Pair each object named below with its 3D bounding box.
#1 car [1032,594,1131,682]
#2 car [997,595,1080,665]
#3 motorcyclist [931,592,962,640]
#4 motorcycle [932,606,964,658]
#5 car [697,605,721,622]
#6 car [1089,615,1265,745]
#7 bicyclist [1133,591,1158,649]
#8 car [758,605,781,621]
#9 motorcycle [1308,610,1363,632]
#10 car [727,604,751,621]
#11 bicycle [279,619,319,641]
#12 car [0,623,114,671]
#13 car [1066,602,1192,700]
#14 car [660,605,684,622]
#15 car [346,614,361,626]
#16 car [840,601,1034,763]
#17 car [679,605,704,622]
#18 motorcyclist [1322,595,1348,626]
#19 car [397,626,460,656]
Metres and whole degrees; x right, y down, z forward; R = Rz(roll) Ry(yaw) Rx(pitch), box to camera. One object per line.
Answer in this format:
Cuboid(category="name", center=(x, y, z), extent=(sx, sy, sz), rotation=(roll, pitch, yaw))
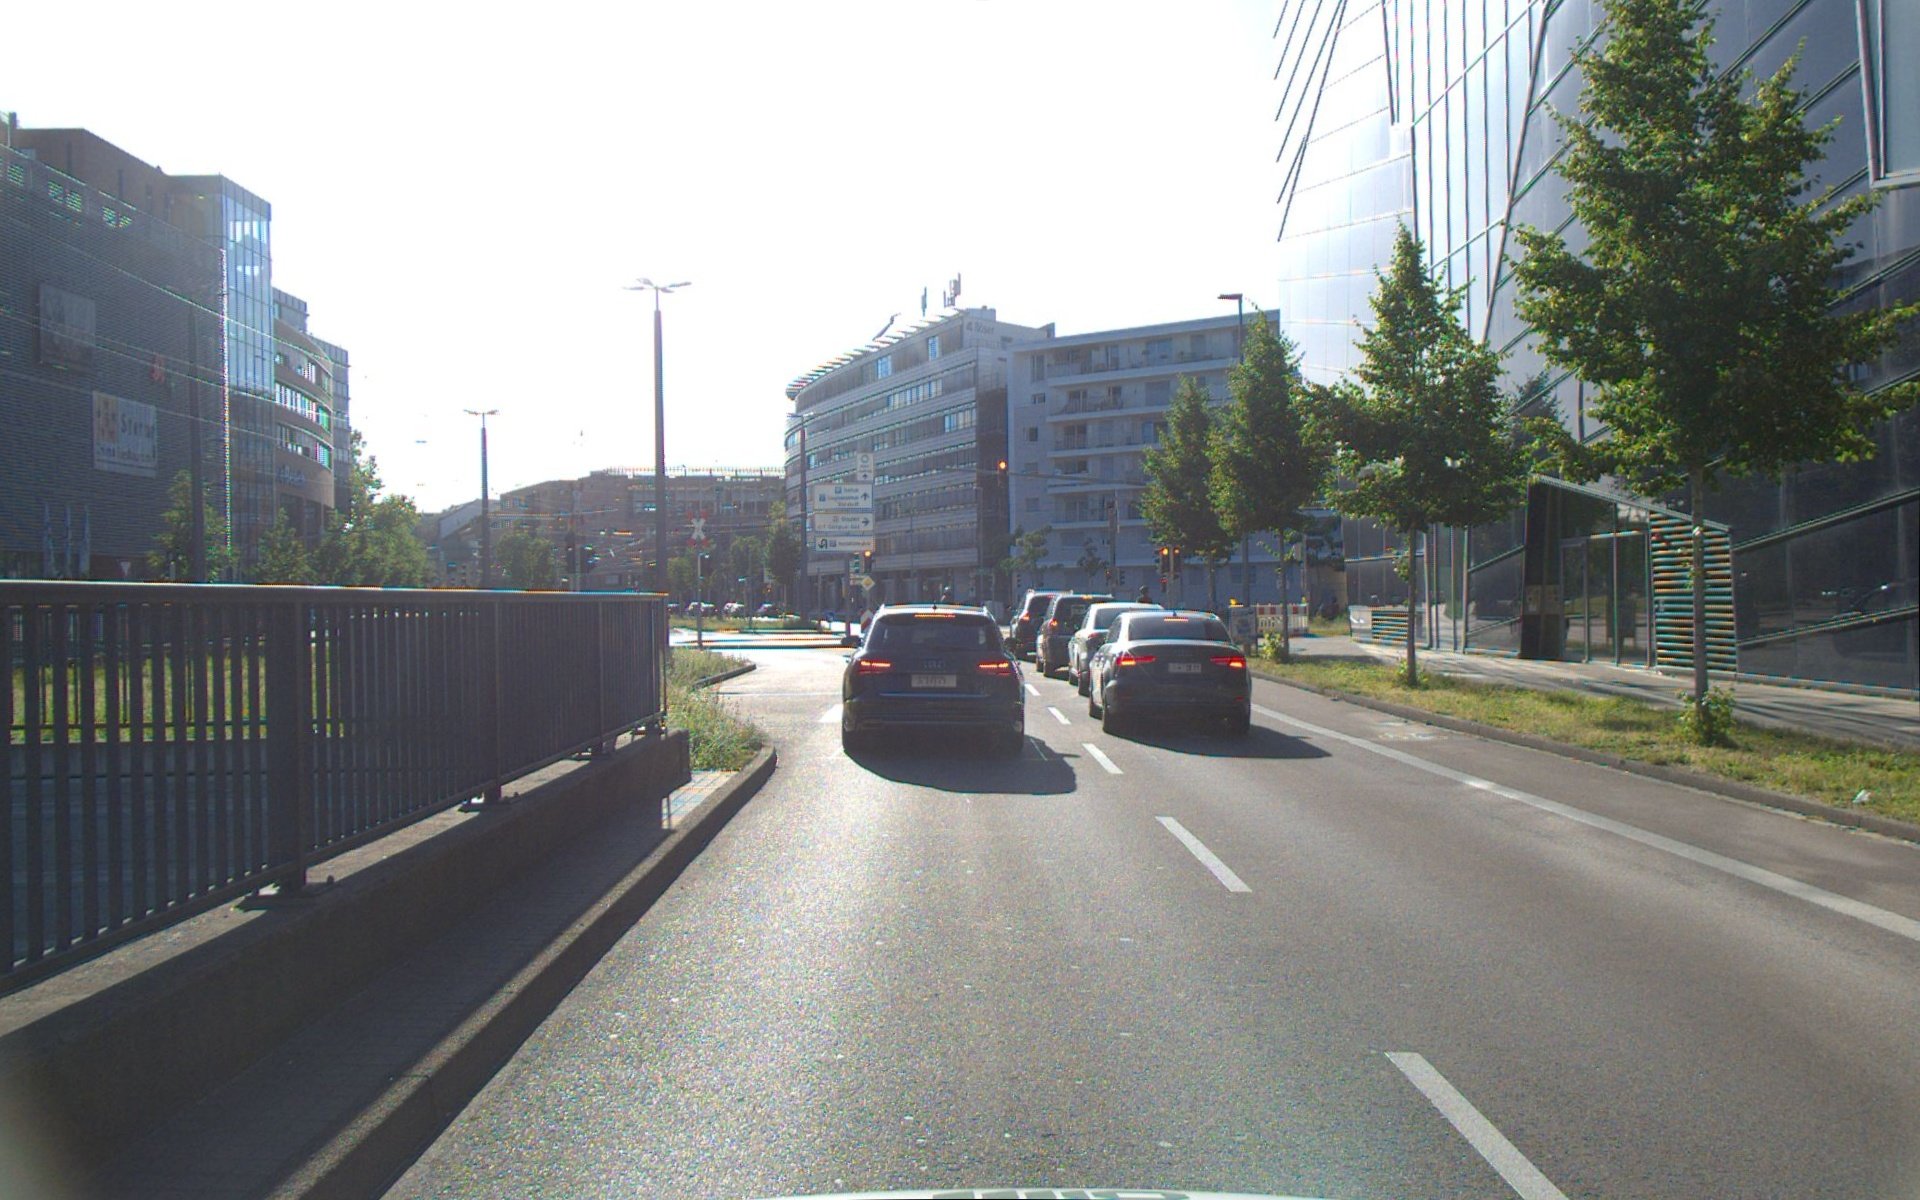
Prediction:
Cuboid(category="car", center=(2.474, 0.759, 34.439), extent=(1.710, 1.726, 4.260), rotation=(0, 0, 0))
Cuboid(category="car", center=(2.037, 0.752, 44.137), extent=(1.962, 1.745, 4.371), rotation=(1, 0, -1))
Cuboid(category="motorcyclist", center=(-0.390, 0.452, 46.729), extent=(0.845, 1.349, 0.681), rotation=(-1, -1, -1))
Cuboid(category="motorcycle", center=(-0.339, 0.900, 46.881), extent=(0.845, 1.417, 1.893), rotation=(-1, -1, -1))
Cuboid(category="car", center=(-26.312, 1.449, 173.153), extent=(1.961, 1.624, 3.983), rotation=(-1, -1, -16))
Cuboid(category="car", center=(2.565, 0.905, 20.451), extent=(1.709, 1.416, 4.265), rotation=(0, 0, 1))
Cuboid(category="bicyclist", center=(5.502, 0.585, 49.037), extent=(0.640, 1.671, 0.972), rotation=(-1, 0, 2))
Cuboid(category="car", center=(-21.171, 1.458, 183.346), extent=(1.960, 1.624, 3.984), rotation=(-1, -1, -15))
Cuboid(category="motorcycle", center=(18.488, 1.033, 81.424), extent=(2.405, 1.018, 1.170), rotation=(-1, 0, -6))
Cuboid(category="car", center=(-22.818, 1.317, 170.983), extent=(1.960, 1.624, 3.984), rotation=(-1, -1, -15))
Cuboid(category="bicycle", center=(-46.688, 2.124, 116.834), extent=(2.507, 1.458, 0.905), rotation=(-2, -1, 8))
Cuboid(category="car", center=(-31.675, 1.615, 57.853), extent=(1.953, 1.527, 4.243), rotation=(-1, 0, 0))
Cuboid(category="car", center=(2.801, 0.817, 28.212), extent=(1.710, 1.507, 4.628), rotation=(-1, 0, 1))
Cuboid(category="car", center=(-31.047, 1.479, 178.006), extent=(1.963, 1.736, 3.978), rotation=(-1, -1, -19))
Cuboid(category="car", center=(-86.358, 2.855, 235.619), extent=(1.630, 1.616, 3.328), rotation=(-1, 0, -28))
Cuboid(category="car", center=(-0.244, 0.773, 17.517), extent=(1.805, 1.479, 3.999), rotation=(1, 0, -1))
Cuboid(category="car", center=(-29.063, 1.509, 178.886), extent=(1.963, 1.736, 3.978), rotation=(-1, -1, -19))
Cuboid(category="motorcyclist", center=(18.434, 0.537, 81.424), extent=(0.907, 1.507, 1.170), rotation=(-1, -1, -6))
Cuboid(category="car", center=(-30.133, 2.289, 93.835), extent=(1.952, 1.573, 4.531), rotation=(-1, 0, 2))
